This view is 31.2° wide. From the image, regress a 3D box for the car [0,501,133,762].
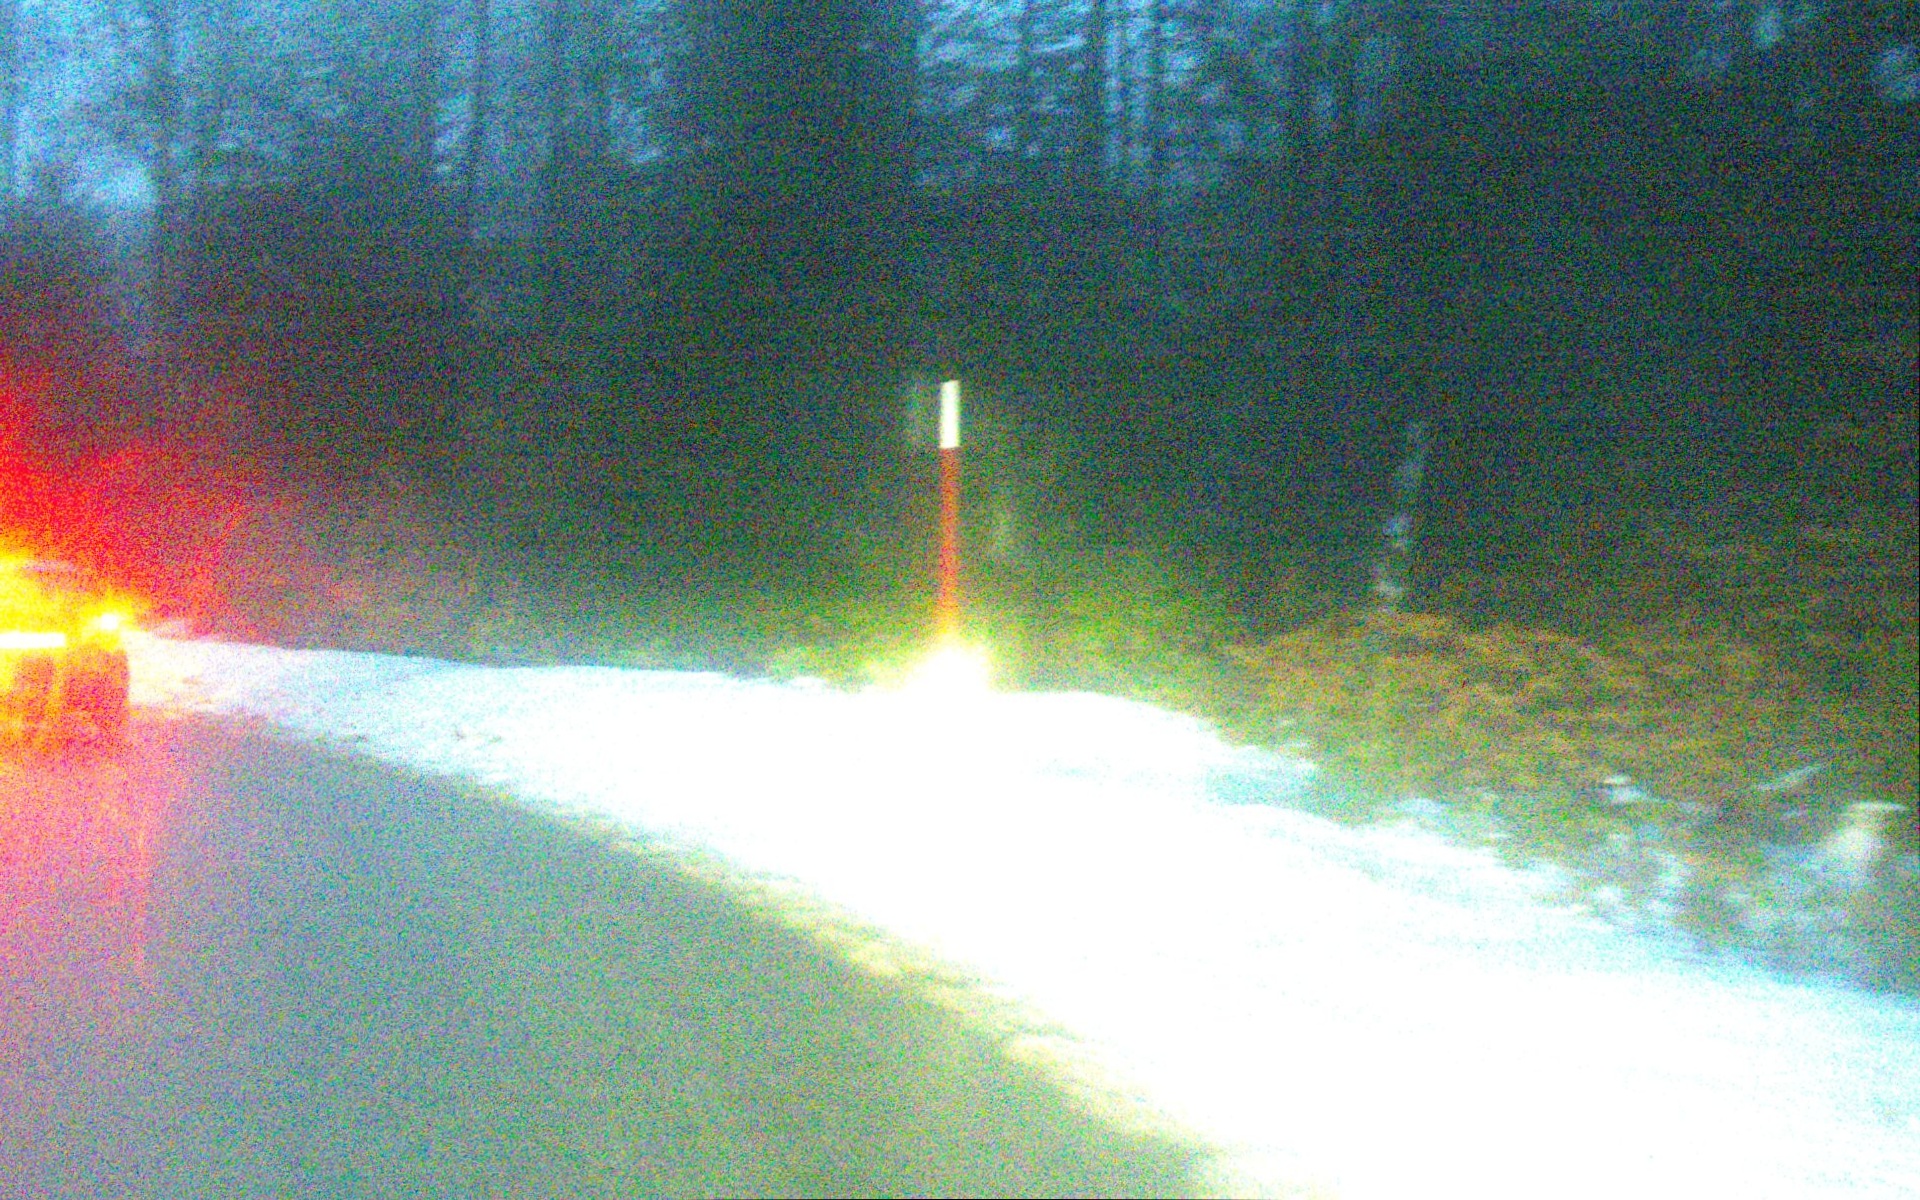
[{"bbox_3d":[-8.045,0.258,29.083,1.993,2.045,4.001,-1,0,-14],"label":"car"}]
